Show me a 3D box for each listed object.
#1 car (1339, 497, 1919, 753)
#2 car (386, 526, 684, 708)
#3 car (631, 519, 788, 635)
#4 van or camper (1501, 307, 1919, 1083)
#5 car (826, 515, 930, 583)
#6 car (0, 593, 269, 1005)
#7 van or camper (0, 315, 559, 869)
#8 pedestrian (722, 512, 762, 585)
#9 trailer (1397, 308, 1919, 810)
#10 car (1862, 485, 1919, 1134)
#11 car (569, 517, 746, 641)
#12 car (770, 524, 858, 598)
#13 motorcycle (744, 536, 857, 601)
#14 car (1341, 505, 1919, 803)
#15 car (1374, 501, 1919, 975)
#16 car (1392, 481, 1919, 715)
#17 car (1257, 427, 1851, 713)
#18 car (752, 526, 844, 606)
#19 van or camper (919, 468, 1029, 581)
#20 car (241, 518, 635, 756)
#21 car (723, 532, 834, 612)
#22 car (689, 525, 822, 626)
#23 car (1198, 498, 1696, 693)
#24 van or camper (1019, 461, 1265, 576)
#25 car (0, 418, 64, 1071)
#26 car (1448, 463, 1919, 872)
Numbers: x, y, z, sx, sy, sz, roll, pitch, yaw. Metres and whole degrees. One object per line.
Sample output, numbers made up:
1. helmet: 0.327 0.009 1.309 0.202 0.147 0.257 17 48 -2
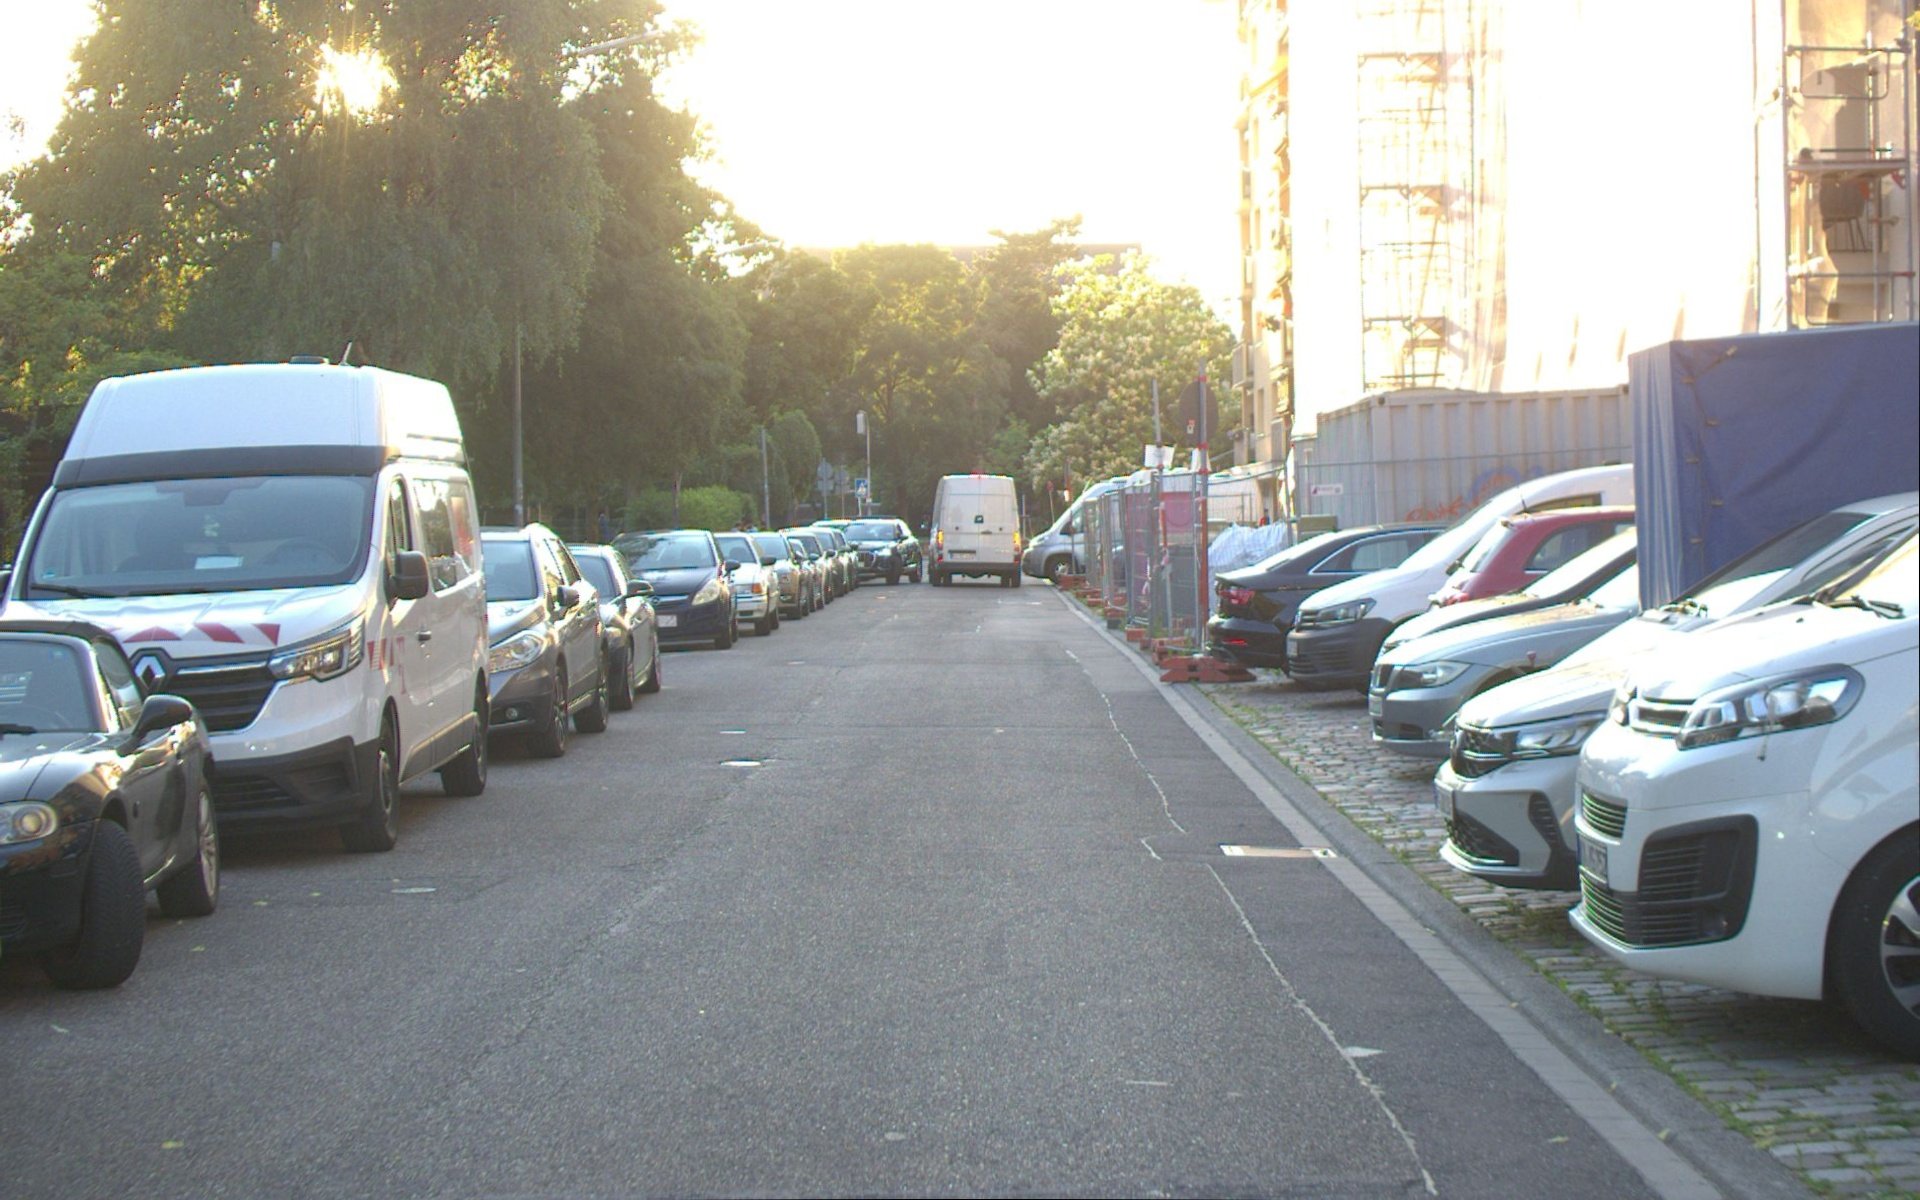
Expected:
1. car: 4.609 0.128 22.609 3.963 1.566 1.789 -1 1 -2
2. car: -3.608 0.090 29.919 1.993 1.448 4.288 0 1 1
3. car: -3.444 -0.358 48.019 1.782 1.440 4.749 -3 1 0
4. van or camper: 4.214 0.206 10.311 4.833 2.089 2.041 -1 1 0
5. car: -1.971 -1.261 83.859 1.805 1.564 4.564 -1 1 8
6. car: -3.782 0.616 12.571 1.993 1.185 4.037 0 1 -5
7. van or camper: -3.646 -0.110 18.366 1.994 2.448 6.083 -1 2 3
8. pedestrian: -5.454 -1.285 86.038 0.938 1.824 0.787 0 1 -1
9. trailer: 4.245 -0.260 17.745 3.566 2.329 1.941 -3 1 -2
10. car: 4.381 0.507 8.038 3.987 1.612 2.000 -1 1 -1
11. car: -3.679 -0.294 42.383 1.993 1.448 4.001 0 1 -2
12. car: -3.110 -0.862 73.934 1.715 1.491 4.361 -2 1 -1
13. motorcycle: -3.276 -0.657 70.746 2.165 1.299 0.879 1 1 15
14. car: 4.388 0.272 20.310 3.986 1.632 1.903 -1 1 -2
15. car: 3.713 0.451 13.055 3.987 1.634 2.000 -1 1 -1
16. car: 5.143 -0.040 25.149 3.692 1.605 1.745 -1 1 -1
17. car: 4.710 -0.275 27.586 4.265 1.973 1.822 -3 2 -7
18. car: -3.164 -0.689 67.528 1.601 1.426 3.804 -3 1 -1
19. van or camper: 0.355 -1.801 81.856 2.454 2.538 6.083 1 1 1
20. car: -3.577 0.182 24.445 1.993 1.514 4.789 0 1 1
21. car: -3.227 -0.526 61.770 1.659 1.309 4.155 -2 1 1
22. car: -3.308 -0.443 56.483 1.860 1.532 4.759 -2 1 0
23. car: 4.220 -0.061 30.304 4.153 1.610 1.872 -1 1 2
24. van or camper: 4.437 -2.014 84.636 5.928 2.760 2.110 0 1 0
25. car: -3.566 0.468 7.539 1.910 1.782 4.950 -2 2 -1
26. car: 4.387 0.268 15.683 3.987 1.722 2.000 -1 0 -1
